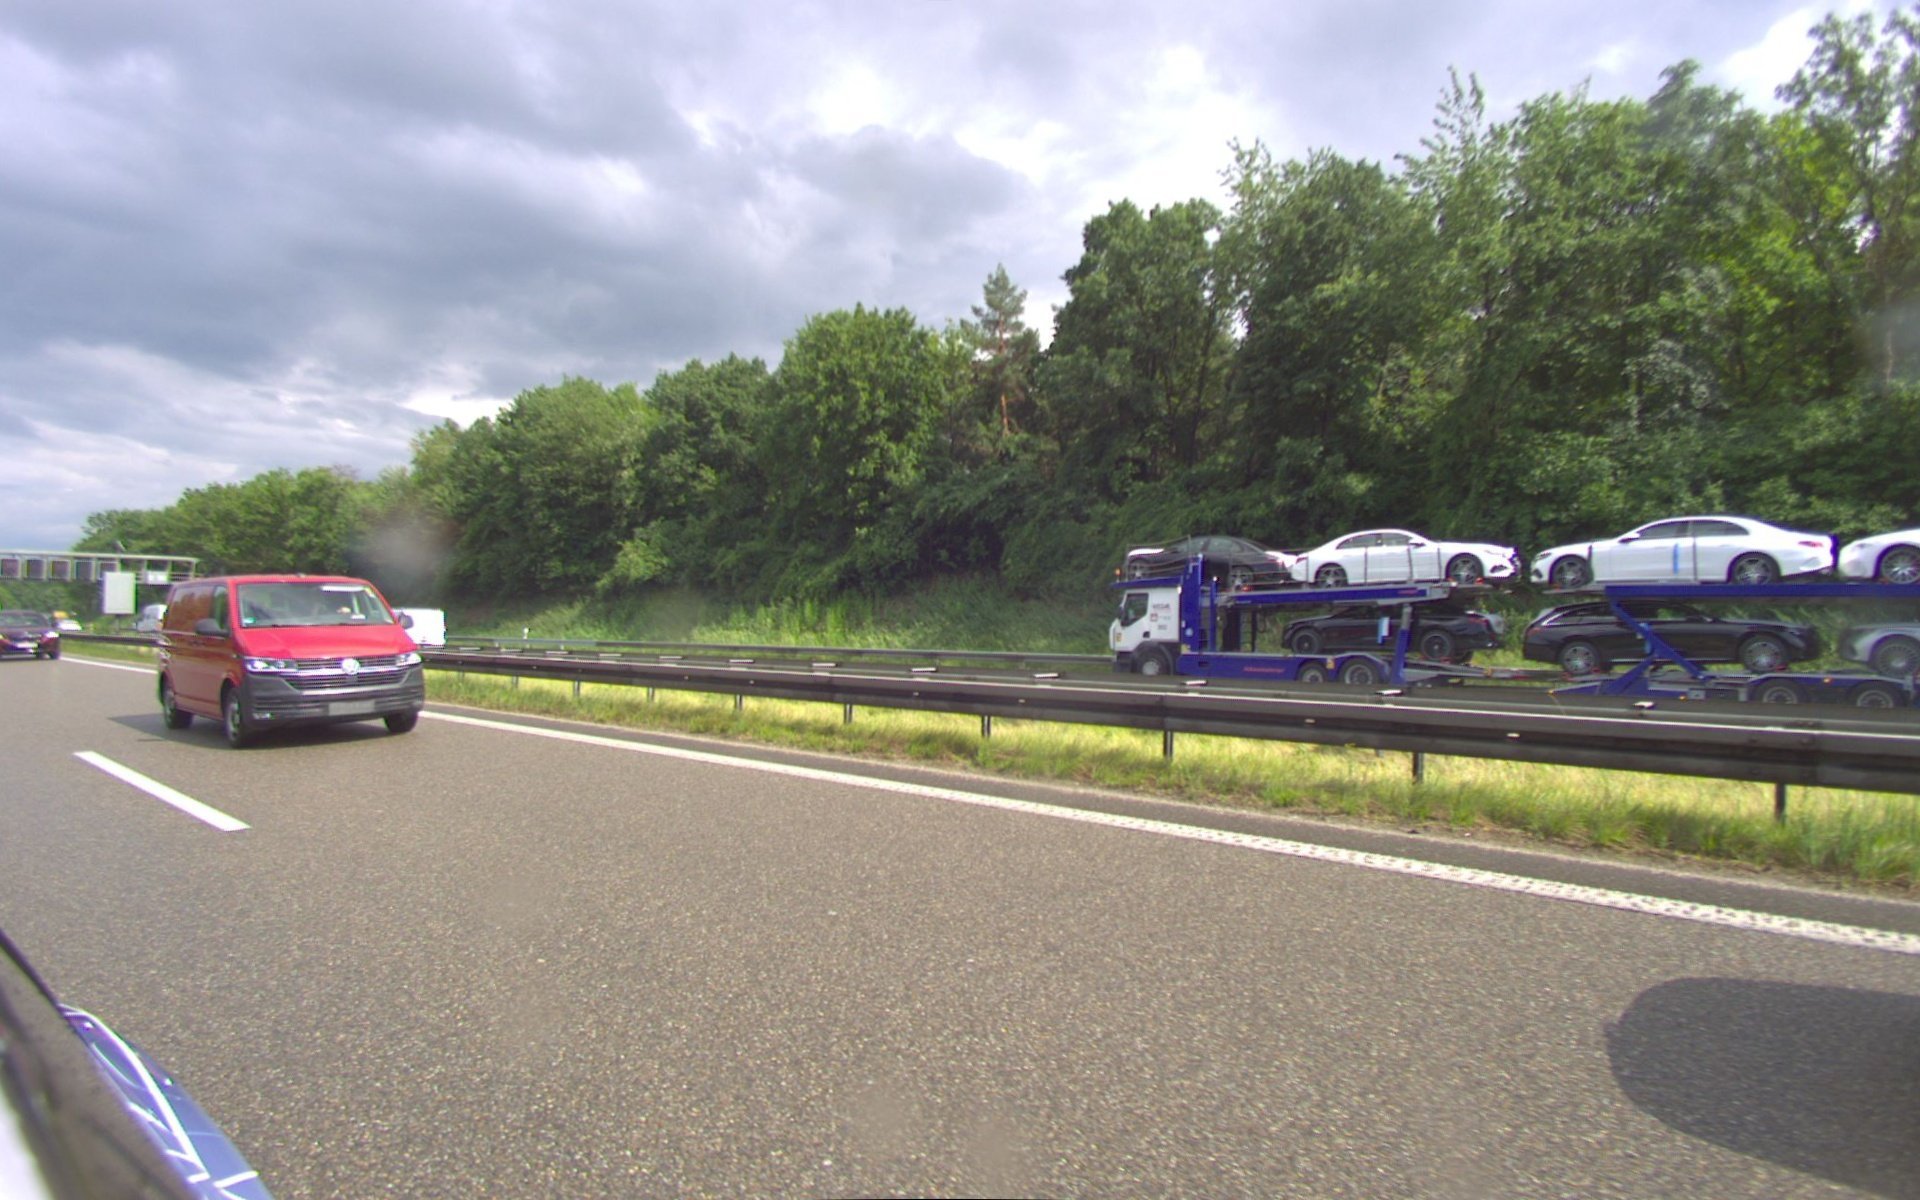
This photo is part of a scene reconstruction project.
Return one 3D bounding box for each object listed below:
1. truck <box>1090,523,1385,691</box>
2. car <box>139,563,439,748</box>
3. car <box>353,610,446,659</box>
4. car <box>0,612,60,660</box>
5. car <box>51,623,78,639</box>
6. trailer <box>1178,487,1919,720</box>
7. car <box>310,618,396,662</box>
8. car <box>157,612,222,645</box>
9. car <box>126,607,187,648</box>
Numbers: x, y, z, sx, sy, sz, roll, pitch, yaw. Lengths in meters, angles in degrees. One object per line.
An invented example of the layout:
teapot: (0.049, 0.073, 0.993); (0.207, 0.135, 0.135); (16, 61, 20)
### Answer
truck: (7.110, 0.173, 26.545); (6.860, 3.860, 2.959); (-1, 0, 41)
car: (-8.474, 0.576, 12.589); (4.836, 1.880, 1.902); (-1, 0, 41)
car: (-24.136, 1.428, 43.516); (5.037, 1.961, 1.850); (-1, 0, 40)
car: (-32.028, 1.180, 34.069); (4.836, 1.508, 1.983); (-1, 0, 41)
car: (-103.984, 3.575, 117.501); (4.233, 1.675, 1.714); (-1, 0, 40)
trailer: (13.304, 0.089, 21.066); (17.943, 3.860, 2.959); (-1, 0, 41)
car: (-21.985, 1.424, 36.619); (3.649, 1.475, 1.586); (-1, 0, 40)
car: (-41.537, 1.524, 54.510); (4.659, 1.675, 1.827); (-1, 0, 40)
car: (-60.279, 2.000, 75.836); (6.926, 2.892, 2.240); (-1, 0, 40)
